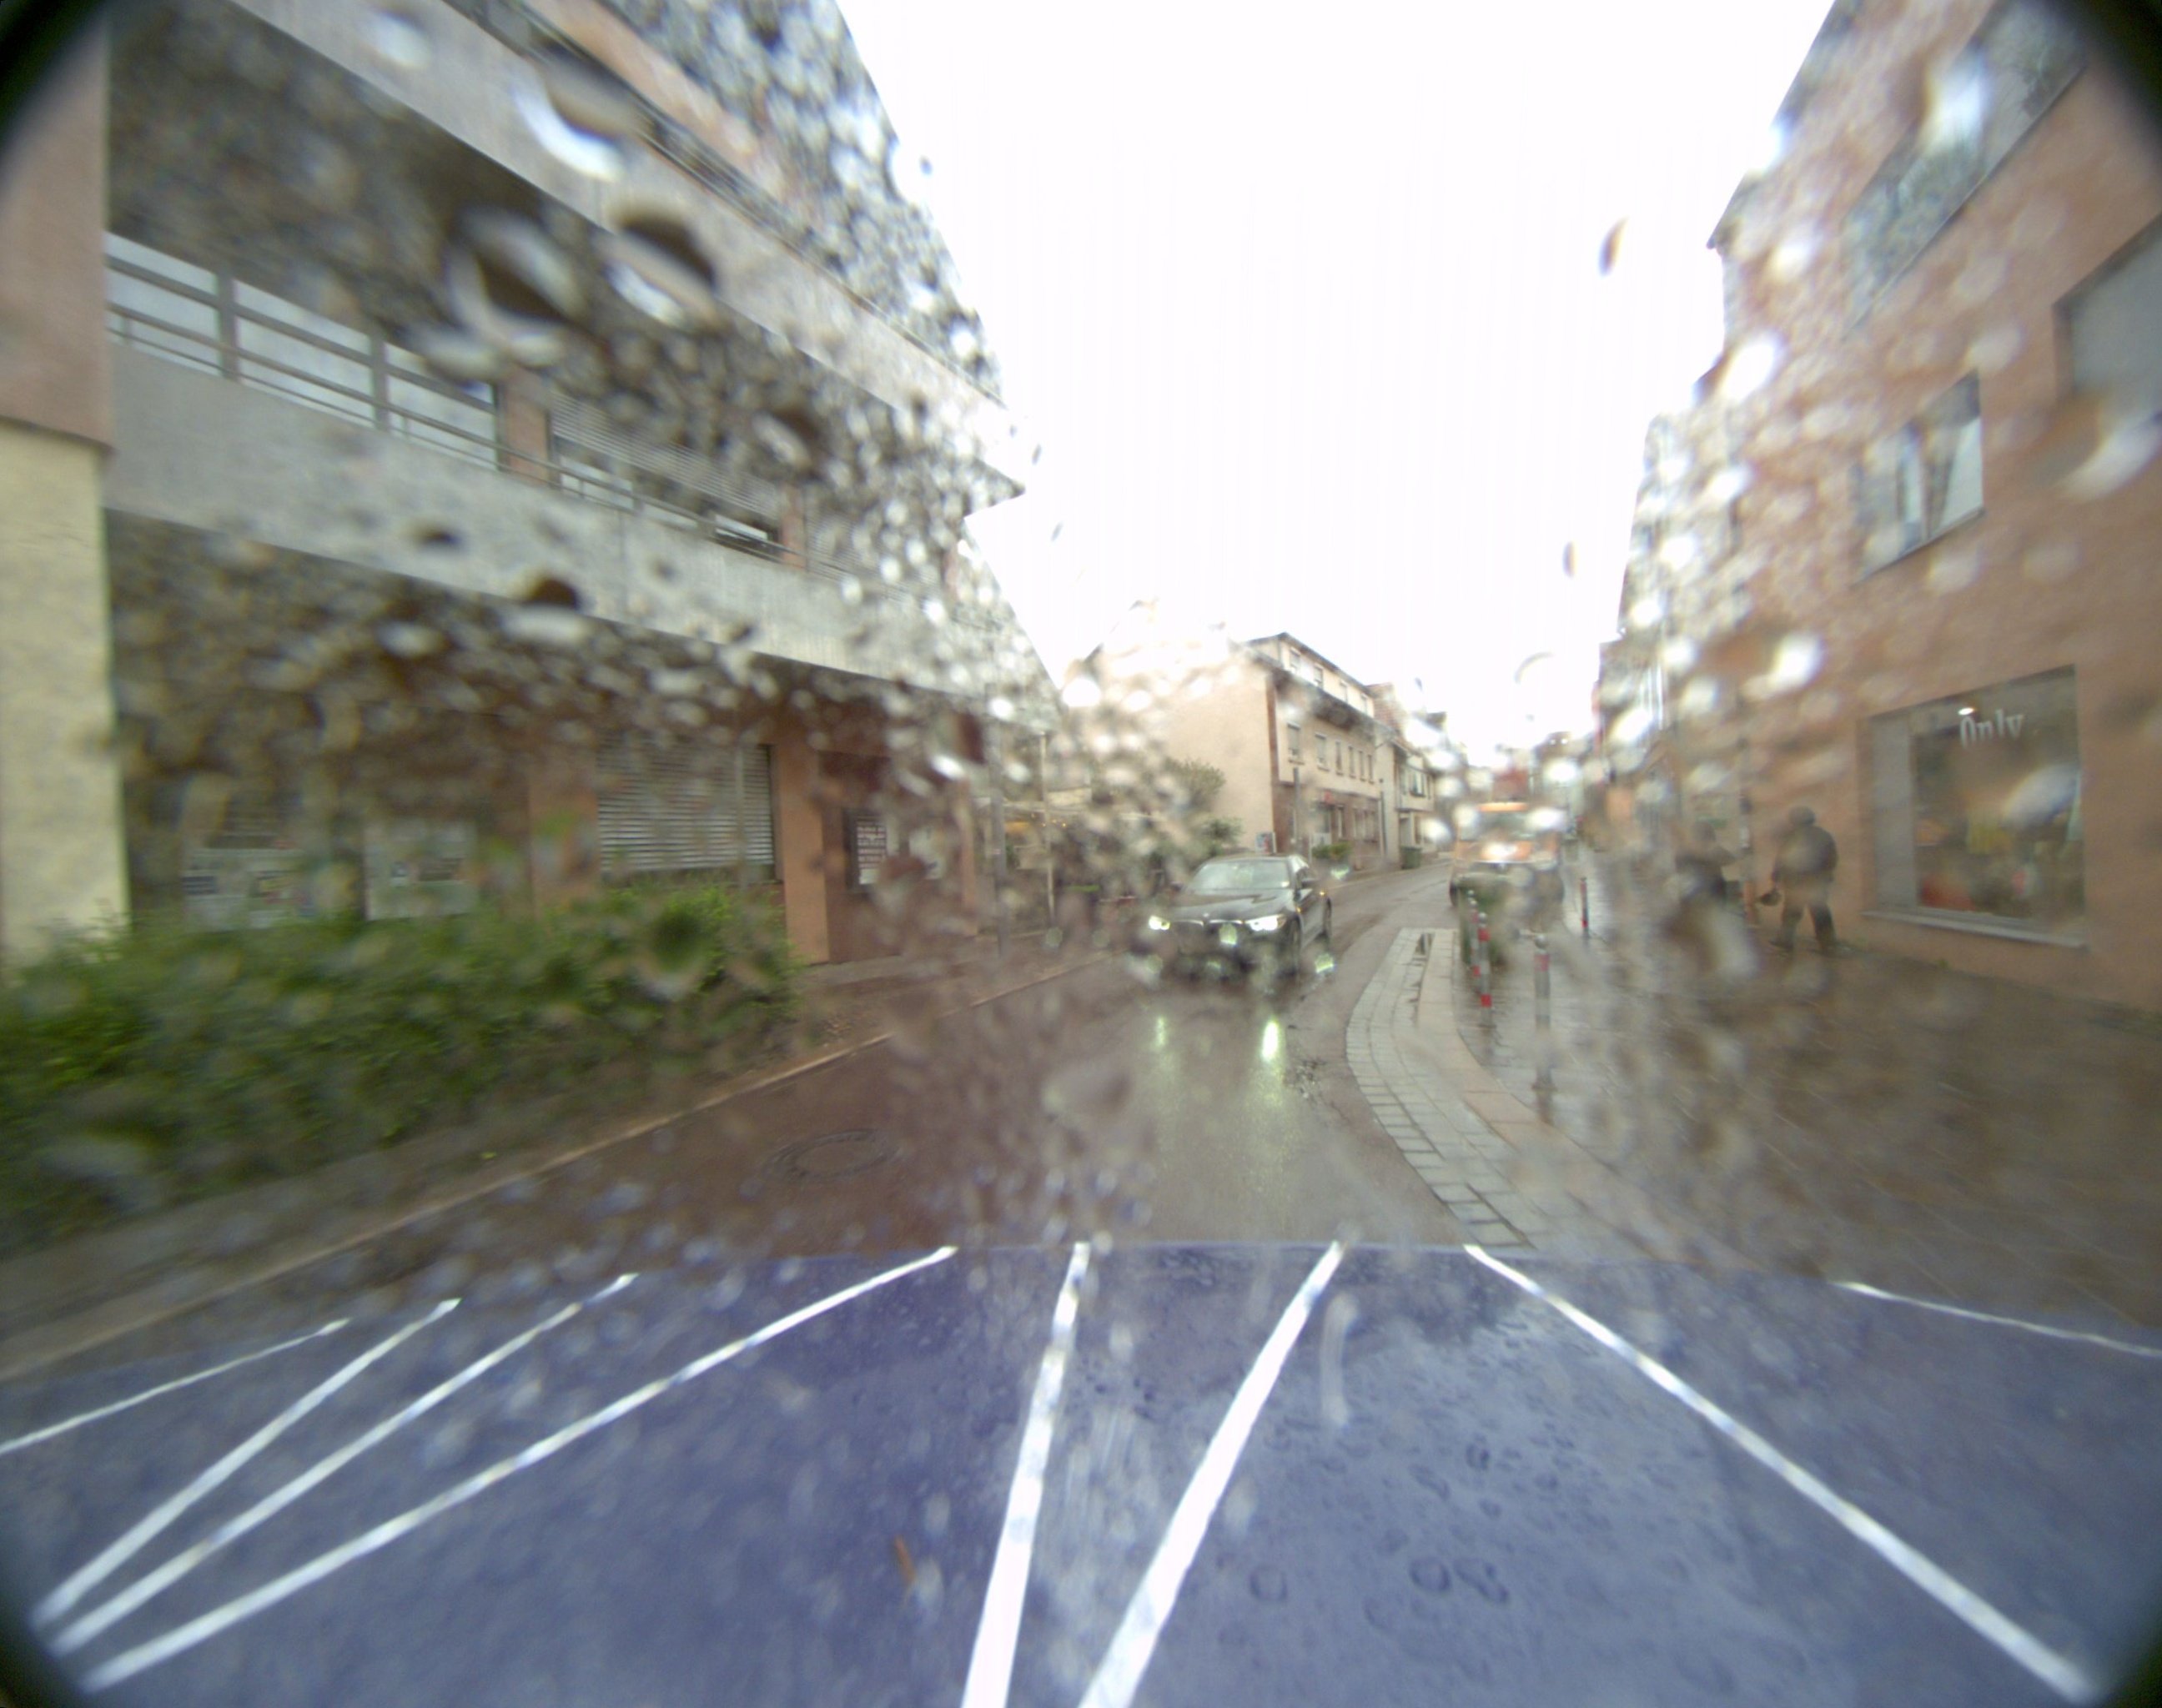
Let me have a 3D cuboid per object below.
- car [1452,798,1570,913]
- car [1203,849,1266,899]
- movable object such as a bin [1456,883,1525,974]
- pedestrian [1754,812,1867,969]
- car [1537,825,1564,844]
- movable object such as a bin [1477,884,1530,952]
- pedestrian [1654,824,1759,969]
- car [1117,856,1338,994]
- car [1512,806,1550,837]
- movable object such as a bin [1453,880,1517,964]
[{"bbox_3d":[10.029,-0.039,17.708,1.995,2.227,5.871,-2,1,30],"label":"car"},{"bbox_3d":[4.738,0.572,23.835,1.736,1.349,3.939,-2,1,9],"label":"car"},{"bbox_3d":[5.001,0.899,9.320,0.657,1.031,0.611,-2,1,23],"label":"movable object such as a bin"},{"bbox_3d":[8.324,0.402,8.703,0.623,1.702,0.810,-4,0,25],"label":"pedestrian"},{"bbox_3d":[36.166,-1.505,58.502,1.629,1.359,3.495,-3,0,33],"label":"car"},{"bbox_3d":[6.078,0.911,10.927,0.582,0.921,0.482,-4,0,32],"label":"movable object such as a bin"},{"bbox_3d":[7.401,0.490,9.030,0.715,1.630,0.747,-4,0,25],"label":"pedestrian"},{"bbox_3d":[2.313,0.832,10.816,1.944,1.394,4.426,-2,1,26],"label":"car"},{"bbox_3d":[45.699,-3.192,77.050,2.705,2.857,8.861,-3,0,34],"label":"car"},{"bbox_3d":[5.330,0.885,10.057,0.657,1.031,0.611,-2,1,23],"label":"movable object such as a bin"}]
